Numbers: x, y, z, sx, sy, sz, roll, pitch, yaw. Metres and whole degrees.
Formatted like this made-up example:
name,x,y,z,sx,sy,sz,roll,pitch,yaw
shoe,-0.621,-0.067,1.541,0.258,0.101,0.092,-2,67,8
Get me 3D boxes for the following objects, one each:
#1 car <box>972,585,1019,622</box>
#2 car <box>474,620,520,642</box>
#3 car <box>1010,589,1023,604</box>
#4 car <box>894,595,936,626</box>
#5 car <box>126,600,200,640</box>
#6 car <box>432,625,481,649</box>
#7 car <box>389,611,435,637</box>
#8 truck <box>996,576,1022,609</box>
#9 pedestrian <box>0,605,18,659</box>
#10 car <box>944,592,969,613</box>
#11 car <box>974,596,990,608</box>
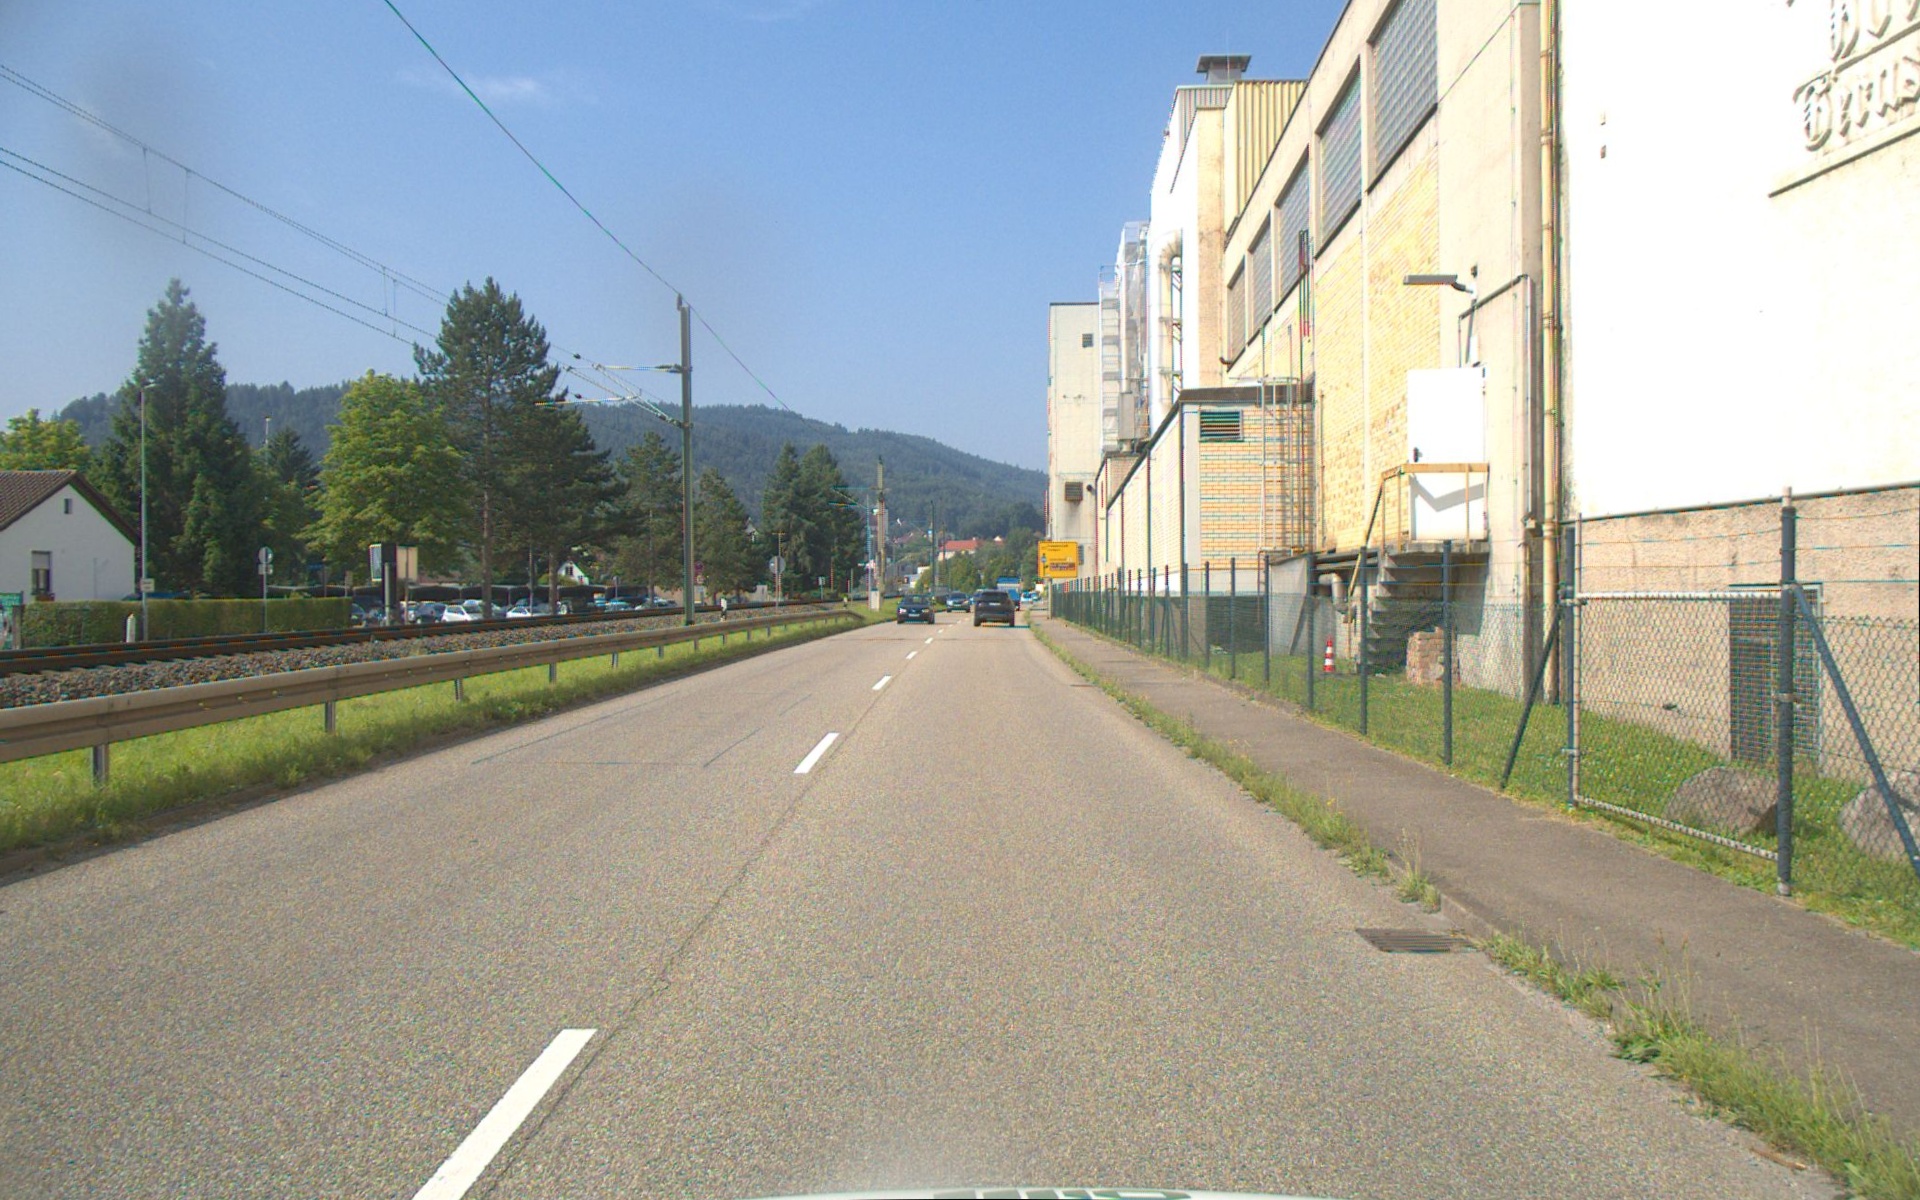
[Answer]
name,x,y,z,sx,sy,sz,roll,pitch,yaw
car,1.647,0.134,75.699,1.879,1.668,4.002,0,0,5
car,-33.334,2.221,119.019,1.673,1.533,3.795,-1,0,-41
car,7.631,-0.483,223.051,1.632,1.854,3.753,0,1,3
car,-2.160,0.484,80.345,1.727,1.427,4.121,0,1,2
car,-29.044,0.712,60.356,1.362,1.376,2.893,-1,0,-2
car,-32.469,2.360,106.614,1.673,1.469,3.795,-1,0,-41
car,-37.627,1.626,113.461,1.673,1.671,3.795,-1,0,-41
truck,4.545,-0.729,154.143,2.265,3.022,5.966,0,1,0
pedestrian,-24.268,0.812,41.802,0.562,1.355,0.673,-1,0,-7
car,-0.247,0.214,134.663,1.867,1.628,4.571,0,0,1
car,2.640,0.218,197.568,1.731,1.430,4.298,-1,0,3
